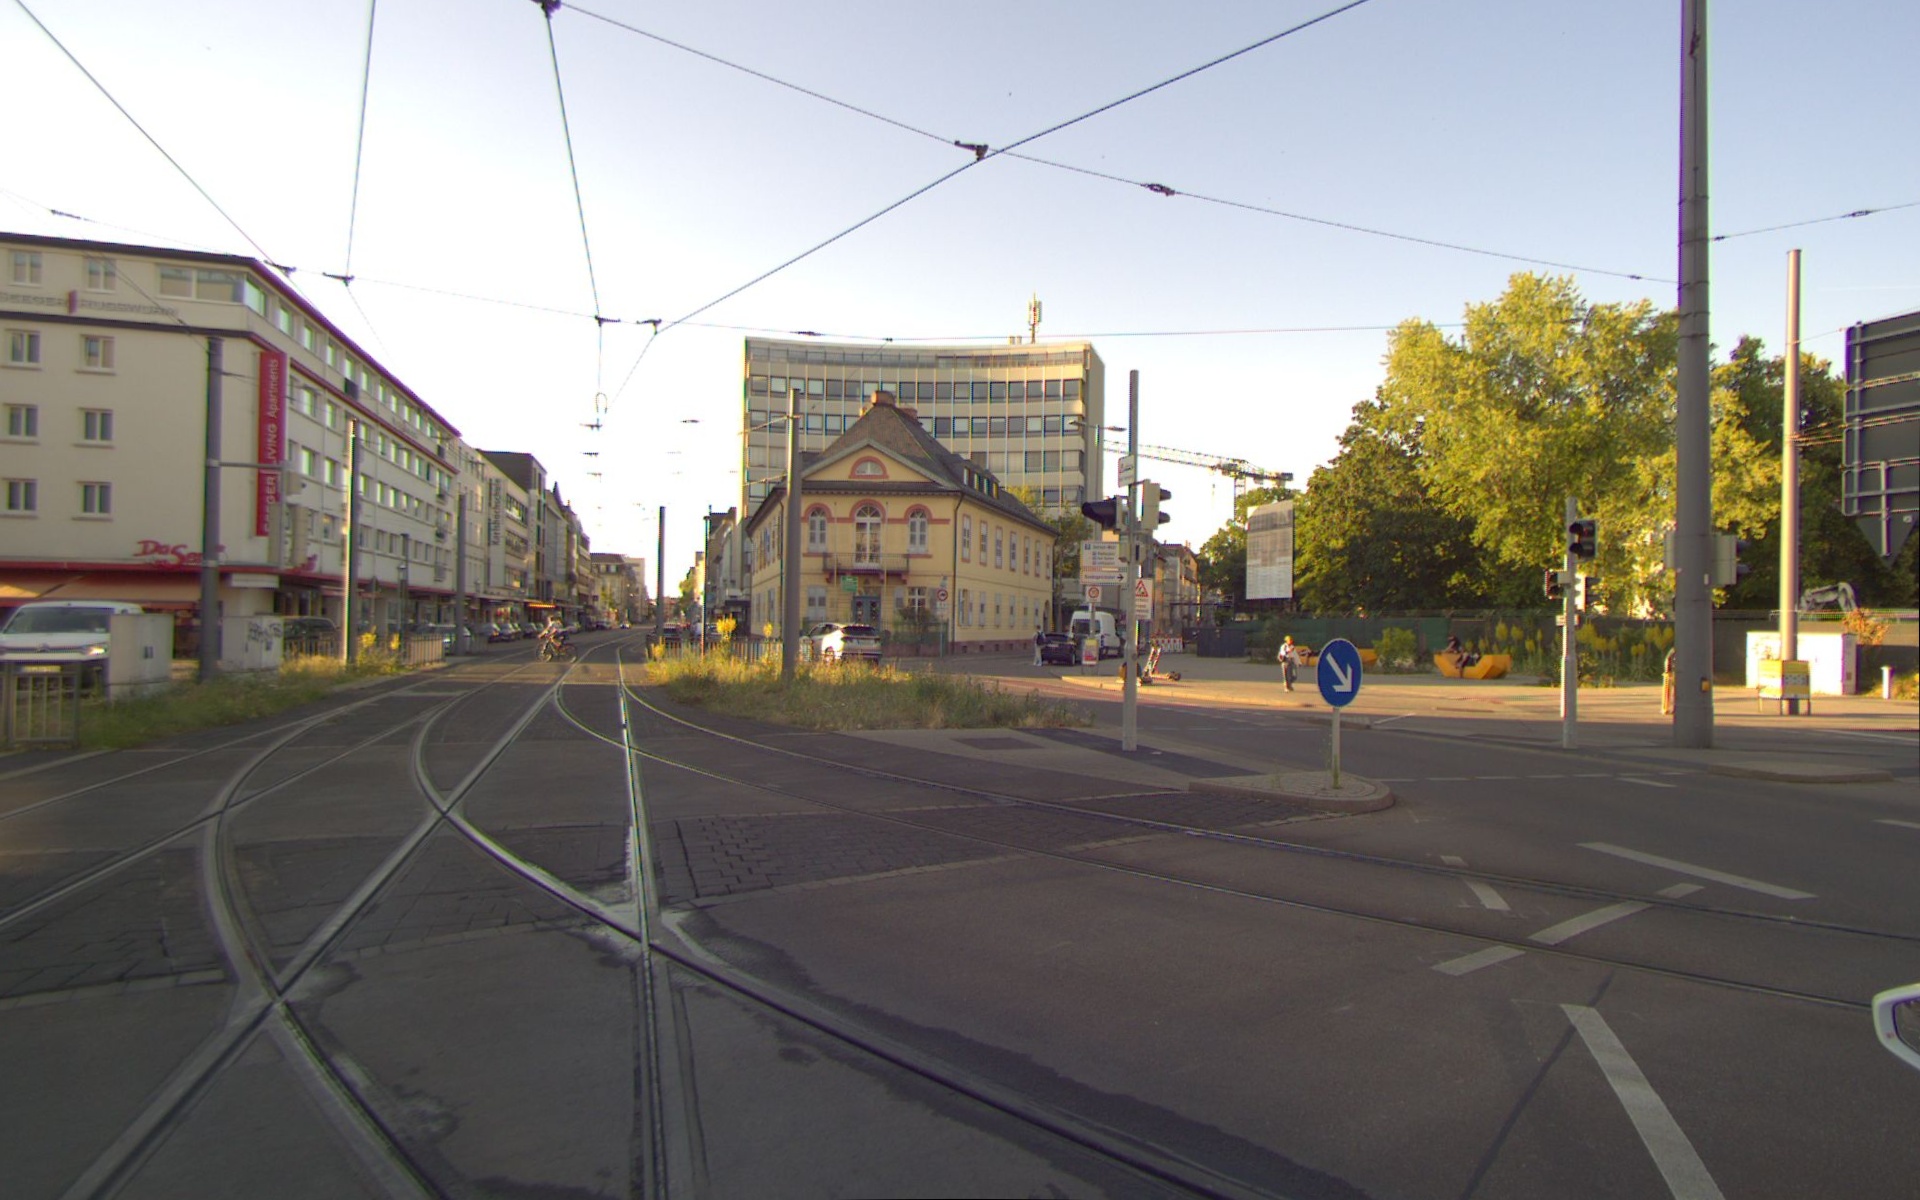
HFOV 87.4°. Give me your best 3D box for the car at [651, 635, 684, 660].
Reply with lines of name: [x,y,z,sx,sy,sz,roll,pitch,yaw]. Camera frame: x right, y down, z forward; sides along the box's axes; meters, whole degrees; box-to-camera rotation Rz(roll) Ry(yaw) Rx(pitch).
car: [-20.786,3.355,71.511,1.966,1.537,4.403,-1,-1,-13]

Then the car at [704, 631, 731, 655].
car: [-18.531,3.288,76.799,1.710,1.731,3.791,1,-2,-18]

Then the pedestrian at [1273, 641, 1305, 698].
pedestrian: [9.638,2.033,29.432,0.678,1.634,0.595,1,-1,-12]

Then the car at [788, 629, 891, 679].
car: [-4.455,1.907,36.623,1.929,1.683,4.495,2,-2,-33]

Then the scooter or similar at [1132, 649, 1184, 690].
scooter or similar: [6.680,2.331,33.904,1.622,1.309,0.461,1,-2,26]

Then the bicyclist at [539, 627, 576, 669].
bicyclist: [-14.318,1.704,35.782,0.912,1.460,0.836,1,-2,4]

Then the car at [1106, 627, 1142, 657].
car: [10.802,2.768,66.083,1.684,1.873,4.023,1,-2,19]

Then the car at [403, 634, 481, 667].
car: [-24.682,2.399,48.049,2.004,1.460,4.653,1,-2,-10]

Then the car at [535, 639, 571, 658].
car: [-36.123,4.318,89.213,2.166,1.580,4.271,2,-2,-12]

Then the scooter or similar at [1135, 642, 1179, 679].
scooter or similar: [6.553,2.007,33.425,1.378,1.181,0.461,0,-2,26]

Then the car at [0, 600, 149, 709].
car: [-17.406,0.995,19.497,1.979,1.862,4.832,2,-2,-32]

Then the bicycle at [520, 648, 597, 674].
bicycle: [-14.283,2.163,35.778,2.374,0.858,0.847,1,-2,3]

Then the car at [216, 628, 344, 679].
car: [-23.184,1.797,34.481,1.964,1.594,4.296,1,-2,-9]

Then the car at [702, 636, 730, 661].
car: [-17.352,3.444,71.434,1.710,1.730,3.427,1,-4,-18]

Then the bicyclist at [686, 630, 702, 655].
bicyclist: [-14.038,2.233,53.008,0.718,1.274,0.664,2,-2,-23]

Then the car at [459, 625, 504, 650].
car: [-34.021,2.689,71.507,1.966,1.687,3.990,2,-2,-13]

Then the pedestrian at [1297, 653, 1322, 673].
pedestrian: [16.843,3.026,48.384,0.556,0.905,0.972,2,-2,-35]

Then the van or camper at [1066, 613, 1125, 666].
van or camper: [7.729,2.250,56.848,2.043,2.811,6.451,1,-2,19]

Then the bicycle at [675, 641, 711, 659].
bicycle: [-14.097,2.649,52.989,1.771,0.904,0.677,2,-2,-22]

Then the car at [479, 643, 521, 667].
car: [-36.535,4.351,79.825,1.966,1.686,4.628,6,-4,-13]

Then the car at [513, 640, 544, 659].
car: [-40.531,4.665,94.404,1.966,1.687,3.990,2,-2,-13]

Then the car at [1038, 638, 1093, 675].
car: [4.920,2.559,46.356,1.748,1.563,4.293,1,-2,16]

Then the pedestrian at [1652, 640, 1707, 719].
pedestrian: [16.668,1.812,23.285,0.927,1.758,0.820,0,-2,28]

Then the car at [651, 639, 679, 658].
car: [-24.332,3.987,82.928,1.882,1.429,4.328,1,-2,-13]

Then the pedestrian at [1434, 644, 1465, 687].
pedestrian: [19.621,2.615,40.255,0.808,1.687,0.762,1,-2,-14]

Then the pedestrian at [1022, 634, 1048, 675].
pedestrian: [3.298,2.403,44.170,0.862,1.747,0.829,1,-1,22]

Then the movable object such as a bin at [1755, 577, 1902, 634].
movable object such as a bin: [33.183,0.286,38.607,1.959,2.040,5.028,0,-2,10]

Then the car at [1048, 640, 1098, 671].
car: [5.803,2.791,51.088,1.700,1.448,4.476,1,-2,18]

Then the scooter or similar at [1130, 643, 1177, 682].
scooter or similar: [6.684,2.145,34.689,1.498,1.276,0.611,0,-2,25]

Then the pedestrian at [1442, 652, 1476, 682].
pedestrian: [19.468,2.611,39.193,0.974,1.173,0.733,1,-2,-15]
